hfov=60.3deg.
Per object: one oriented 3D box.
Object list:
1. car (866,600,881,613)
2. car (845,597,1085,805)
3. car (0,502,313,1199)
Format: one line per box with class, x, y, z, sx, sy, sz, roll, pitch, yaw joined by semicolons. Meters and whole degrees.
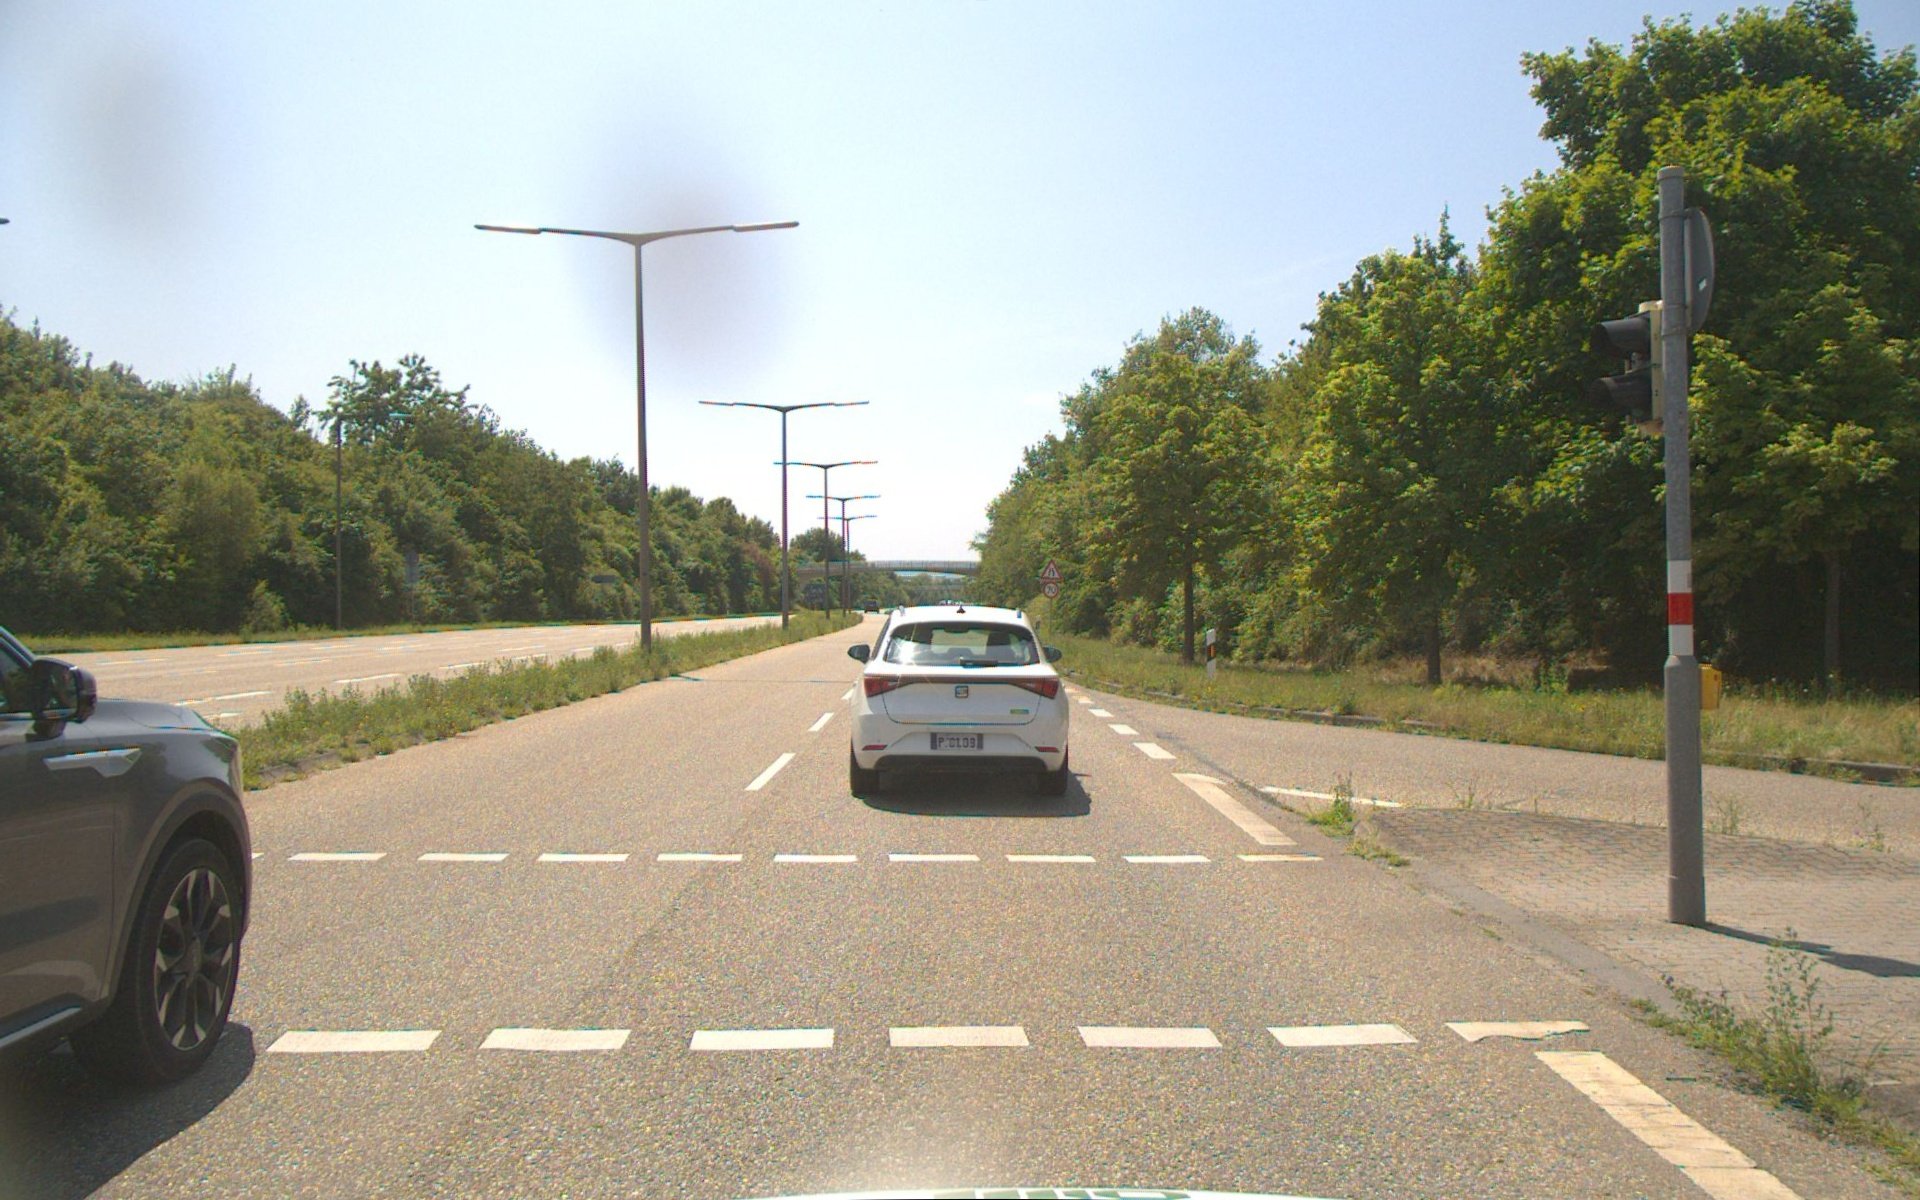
car;-12.163;0.925;232.396;1.817;1.739;4.000;-2;0;1
car;0.037;0.750;13.801;1.699;1.453;3.694;1;-1;0
car;-3.132;0.615;3.411;1.767;1.691;4.644;0;0;0
